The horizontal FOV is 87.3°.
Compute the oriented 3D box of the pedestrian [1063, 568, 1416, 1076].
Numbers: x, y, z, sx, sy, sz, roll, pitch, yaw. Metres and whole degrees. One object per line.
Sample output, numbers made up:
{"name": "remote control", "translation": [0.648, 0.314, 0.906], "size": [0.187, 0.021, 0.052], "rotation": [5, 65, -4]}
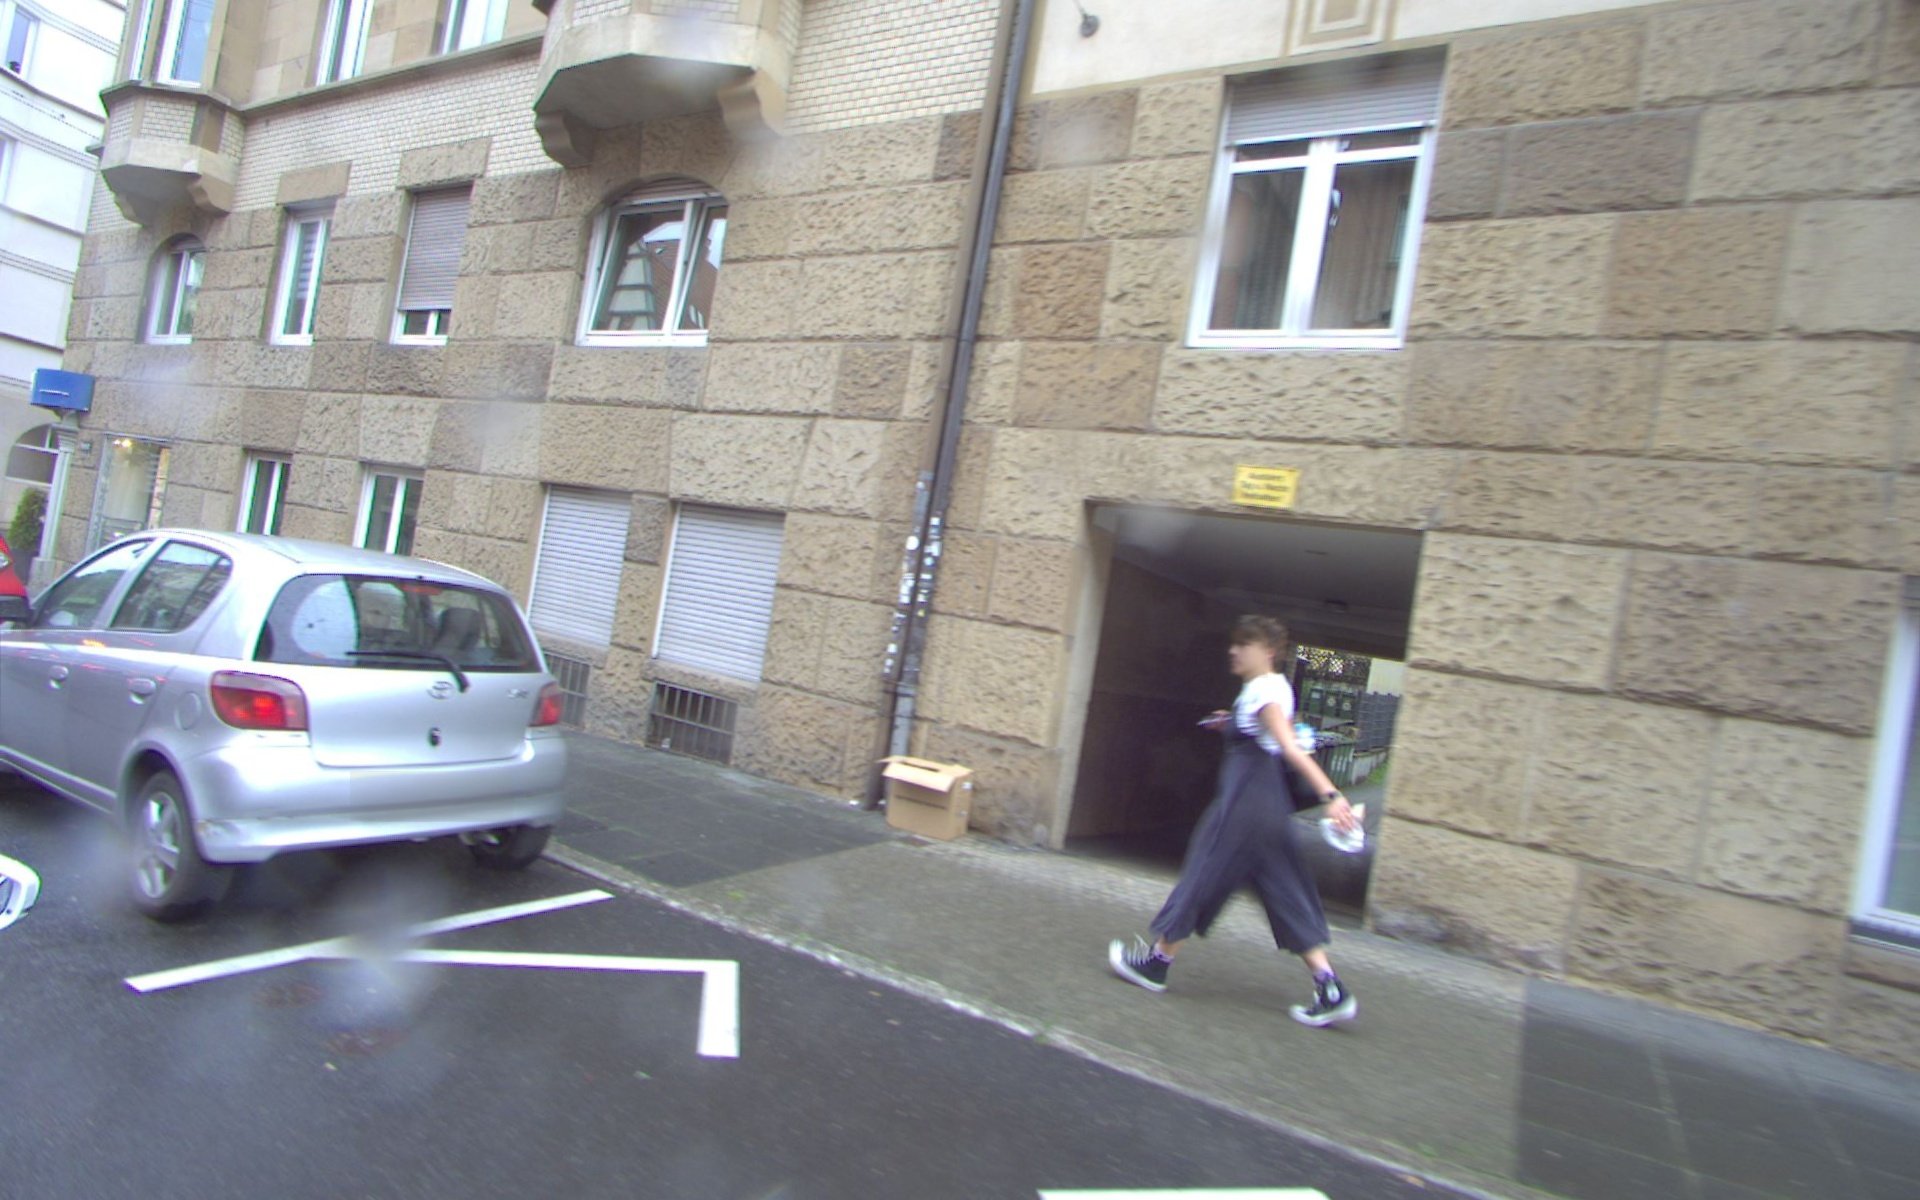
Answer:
{"name": "pedestrian", "translation": [1.187, 0.827, 4.244], "size": [1.093, 1.768, 0.743], "rotation": [6, -1, 32]}

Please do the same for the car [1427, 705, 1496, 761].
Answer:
{"name": "car", "translation": [17.287, 4.556, 34.602], "size": [1.693, 1.538, 4.102], "rotation": [7, -3, 31]}

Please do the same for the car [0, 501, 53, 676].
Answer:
{"name": "car", "translation": [-9.797, -0.318, 8.846], "size": [3.243, 1.464, 1.646], "rotation": [7, -2, 29]}

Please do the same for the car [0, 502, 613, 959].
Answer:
{"name": "car", "translation": [-3.549, 0.422, 5.066], "size": [3.258, 1.485, 1.616], "rotation": [7, -1, 33]}
